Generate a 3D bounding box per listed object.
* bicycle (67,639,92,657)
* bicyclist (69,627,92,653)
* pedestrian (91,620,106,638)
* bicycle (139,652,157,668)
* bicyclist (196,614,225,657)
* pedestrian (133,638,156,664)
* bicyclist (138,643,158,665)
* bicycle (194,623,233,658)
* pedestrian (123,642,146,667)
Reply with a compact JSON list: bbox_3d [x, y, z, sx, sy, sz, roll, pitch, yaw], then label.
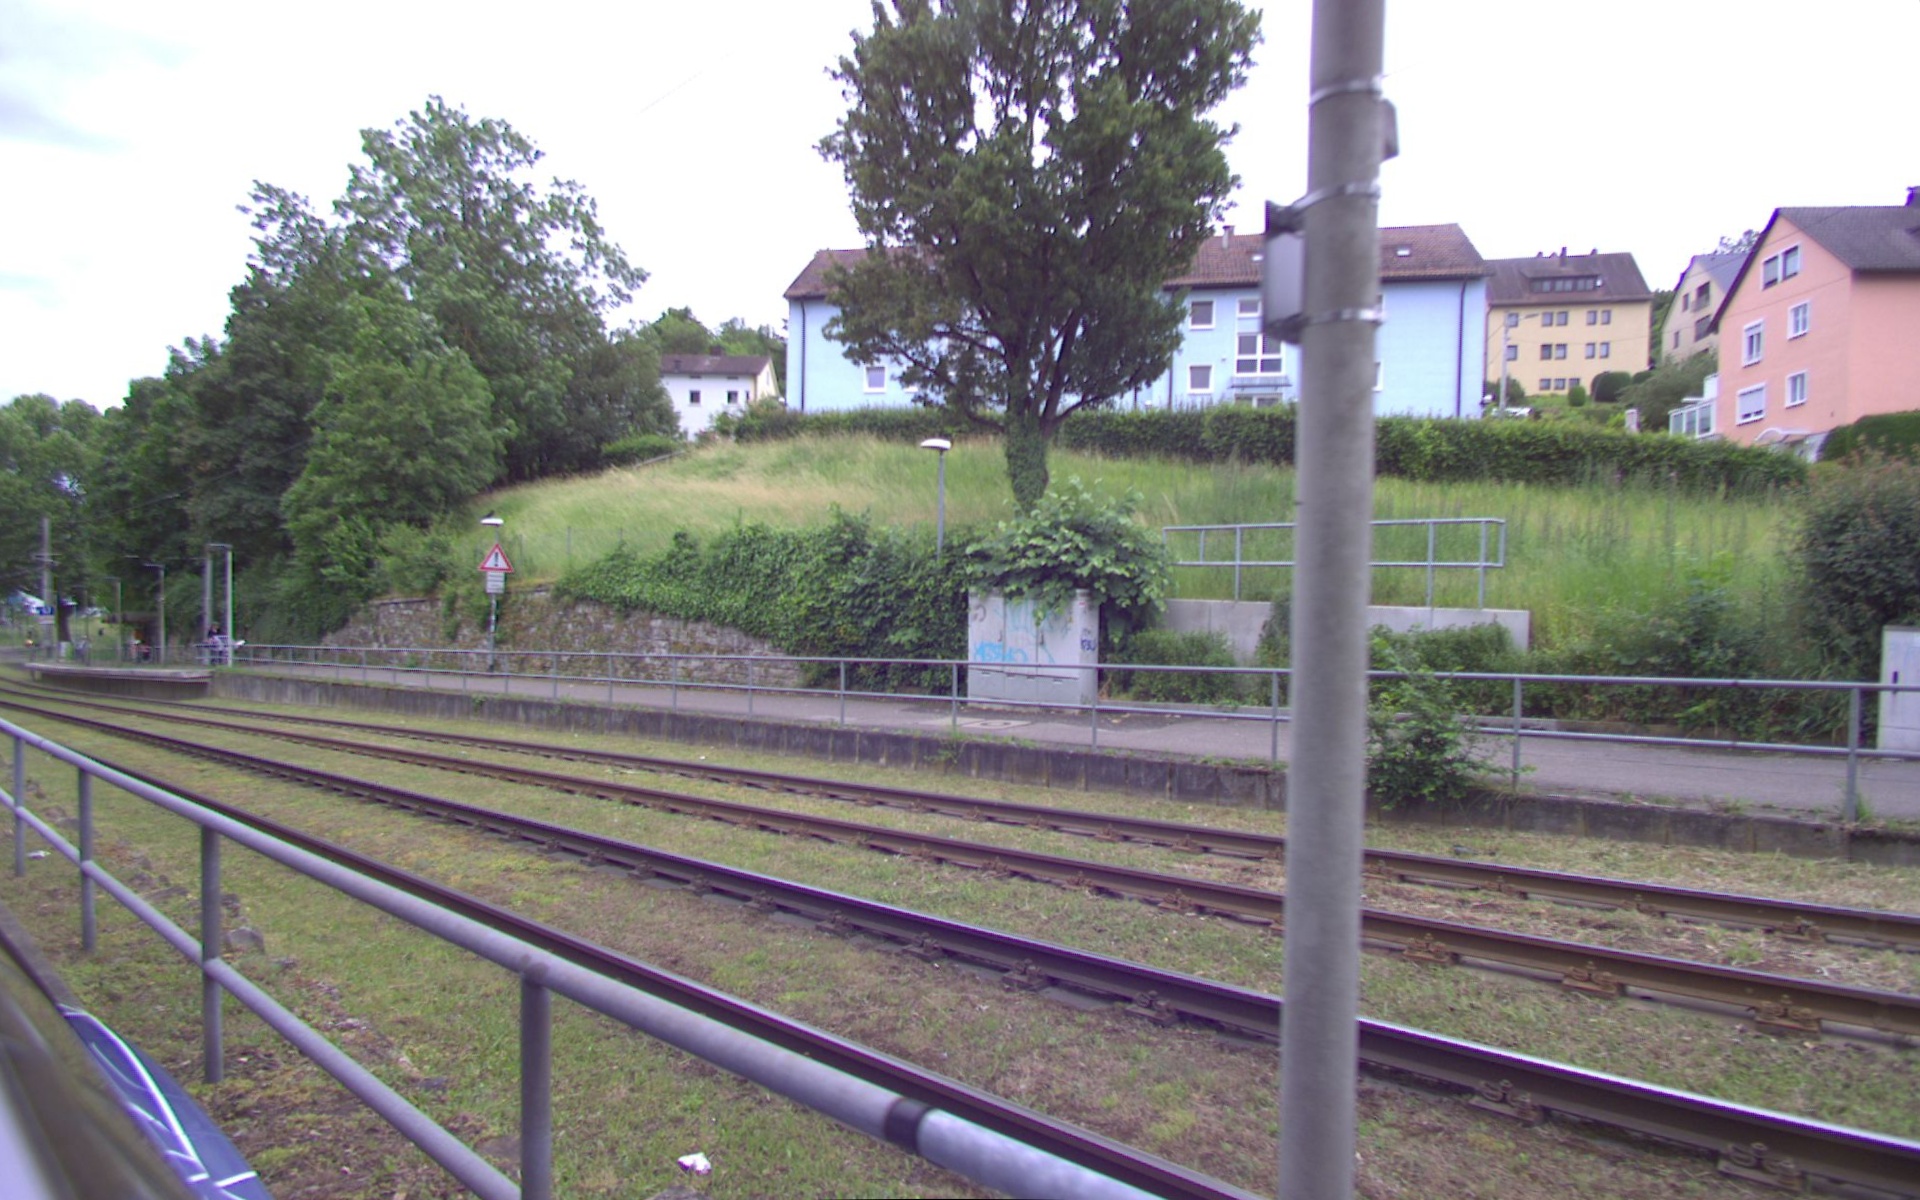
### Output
[{"bbox_3d":[-51.063,2.783,58.665,1.836,0.932,0.474,-4,-2,29],"label":"bicycle"},{"bbox_3d":[-50.972,2.331,58.640,0.903,1.442,0.740,-4,-2,28],"label":"bicyclist"},{"bbox_3d":[-85.634,2.835,100.621,1.101,1.747,0.695,-1,0,-43],"label":"pedestrian"},{"bbox_3d":[-41.259,3.056,51.424,1.564,0.787,0.445,-3,-2,42],"label":"bicycle"},{"bbox_3d":[-29.326,1.399,39.590,1.033,1.641,0.696,-3,-1,44],"label":"bicyclist"},{"bbox_3d":[-44.929,2.777,55.748,0.772,1.385,0.813,-1,0,35],"label":"pedestrian"},{"bbox_3d":[-41.340,2.751,51.519,0.744,1.061,0.682,-3,-2,41],"label":"bicyclist"},{"bbox_3d":[-28.906,1.579,39.173,0.742,1.249,2.868,-2,-1,-45],"label":"bicycle"},{"bbox_3d":[-45.950,3.017,56.363,0.772,1.333,0.813,-1,0,35],"label":"pedestrian"}]
